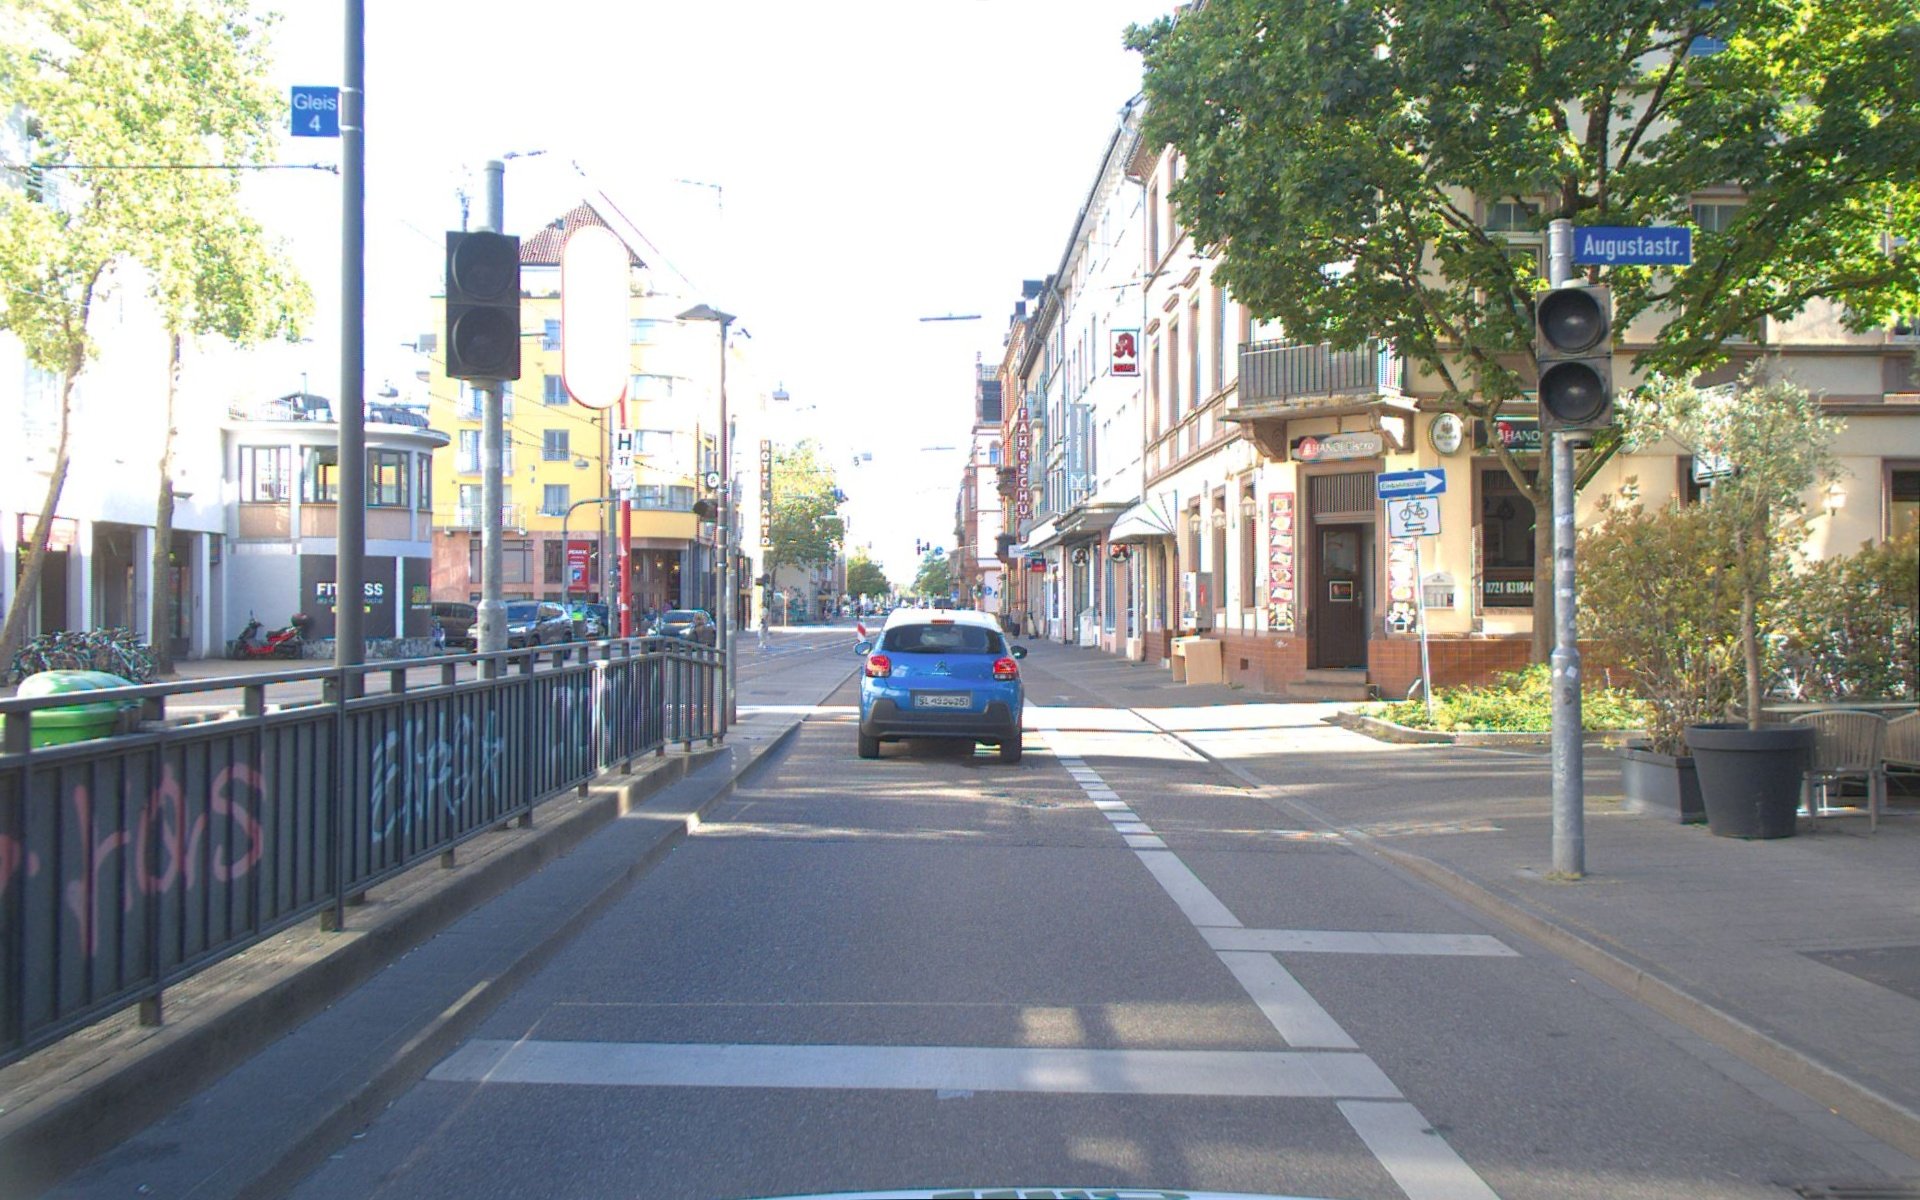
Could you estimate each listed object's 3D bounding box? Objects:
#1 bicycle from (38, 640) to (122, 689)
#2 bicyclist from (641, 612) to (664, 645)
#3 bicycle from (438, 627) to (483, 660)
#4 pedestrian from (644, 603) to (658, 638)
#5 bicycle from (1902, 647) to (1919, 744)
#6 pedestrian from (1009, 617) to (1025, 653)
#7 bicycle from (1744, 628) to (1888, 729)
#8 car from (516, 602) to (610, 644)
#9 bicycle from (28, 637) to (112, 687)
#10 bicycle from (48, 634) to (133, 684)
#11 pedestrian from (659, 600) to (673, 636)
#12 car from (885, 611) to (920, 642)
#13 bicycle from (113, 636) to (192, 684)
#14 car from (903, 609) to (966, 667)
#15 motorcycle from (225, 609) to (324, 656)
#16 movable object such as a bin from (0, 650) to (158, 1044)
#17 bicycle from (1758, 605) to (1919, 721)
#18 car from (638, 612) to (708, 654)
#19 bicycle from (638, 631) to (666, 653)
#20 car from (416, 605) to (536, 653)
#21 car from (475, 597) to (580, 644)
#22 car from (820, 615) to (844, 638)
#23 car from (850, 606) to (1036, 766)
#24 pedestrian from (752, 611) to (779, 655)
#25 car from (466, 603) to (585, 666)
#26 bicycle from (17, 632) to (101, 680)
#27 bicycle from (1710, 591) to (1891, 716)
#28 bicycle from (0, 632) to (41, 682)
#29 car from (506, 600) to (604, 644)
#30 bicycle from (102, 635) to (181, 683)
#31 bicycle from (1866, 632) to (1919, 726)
[{"bbox_3d":[-17.676,1.286,33.236,0.384,0.957,1.490,0,-1,34],"label":"bicycle"},{"bbox_3d":[-12.531,1.169,67.425,0.715,1.314,1.180,1,0,0],"label":"bicyclist"},{"bbox_3d":[-16.428,1.408,54.494,0.665,1.020,2.686,1,0,0],"label":"bicycle"},{"bbox_3d":[-16.401,1.090,87.666,0.683,1.862,0.838,1,-1,-13],"label":"pedestrian"},{"bbox_3d":[11.587,1.132,18.780,1.499,1.087,0.346,3,3,33],"label":"bicycle"},{"bbox_3d":[2.664,1.626,77.737,0.679,1.680,0.680,1,-1,-2],"label":"pedestrian"},{"bbox_3d":[10.897,0.984,21.078,1.560,1.143,0.346,3,3,33],"label":"bicycle"},{"bbox_3d":[-18.321,1.048,76.502,3.909,1.880,1.956,1,0,-5],"label":"car"},{"bbox_3d":[-18.009,1.244,33.476,0.384,0.957,1.490,0,-1,34],"label":"bicycle"},{"bbox_3d":[-17.326,1.174,32.992,0.384,0.957,1.490,0,-1,34],"label":"bicycle"},{"bbox_3d":[-15.586,0.972,87.645,0.683,1.890,0.838,1,-1,-13],"label":"pedestrian"},{"bbox_3d":[-3.468,1.644,100.147,1.953,1.773,3.998,2,-2,-1],"label":"car"},{"bbox_3d":[-16.836,1.238,34.526,0.384,0.957,1.490,0,-1,34],"label":"bicycle"},{"bbox_3d":[-0.846,1.268,54.870,1.953,1.773,3.998,2,-2,-1],"label":"car"},{"bbox_3d":[-19.293,0.914,46.600,2.463,1.311,0.667,1,-1,-4],"label":"motorcycle"},{"bbox_3d":[-2.488,0.658,4.566,0.339,1.025,0.404,0,-1,0],"label":"movable object such as a bin"},{"bbox_3d":[10.054,0.698,18.677,1.810,1.180,0.346,3,3,33],"label":"bicycle"},{"bbox_3d":[-10.803,1.234,62.553,1.911,1.512,4.000,-1,0,0],"label":"car"},{"bbox_3d":[-12.530,1.685,67.423,0.665,0.842,2.576,1,0,0],"label":"bicycle"},{"bbox_3d":[-17.835,1.077,61.137,3.909,1.704,1.956,1,0,-5],"label":"car"},{"bbox_3d":[-17.983,0.838,68.887,3.909,1.880,1.956,1,0,-5],"label":"car"},{"bbox_3d":[-11.959,2.456,155.155,1.953,2.049,3.998,2,-2,-1],"label":"car"},{"bbox_3d":[-0.195,0.842,17.723,1.745,1.476,3.653,2,-1,-1],"label":"car"},{"bbox_3d":[-7.587,1.288,64.585,0.829,1.683,0.691,1,-1,-29],"label":"pedestrian"},{"bbox_3d":[-12.174,0.928,46.621,1.715,1.643,4.830,-1,0,4],"label":"car"},{"bbox_3d":[-18.352,1.132,33.714,0.384,0.957,1.490,0,-1,34],"label":"bicycle"},{"bbox_3d":[9.786,0.598,19.288,1.810,1.316,0.346,3,3,33],"label":"bicycle"},{"bbox_3d":[-18.635,1.102,32.003,0.384,0.957,1.490,0,-1,34],"label":"bicycle"},{"bbox_3d":[-17.934,0.984,73.431,3.909,1.880,1.956,1,0,-5],"label":"car"},{"bbox_3d":[-17.202,1.232,34.792,0.384,0.957,1.490,0,-1,34],"label":"bicycle"},{"bbox_3d":[12.408,1.033,20.958,1.560,1.143,0.346,3,3,33],"label":"bicycle"}]
